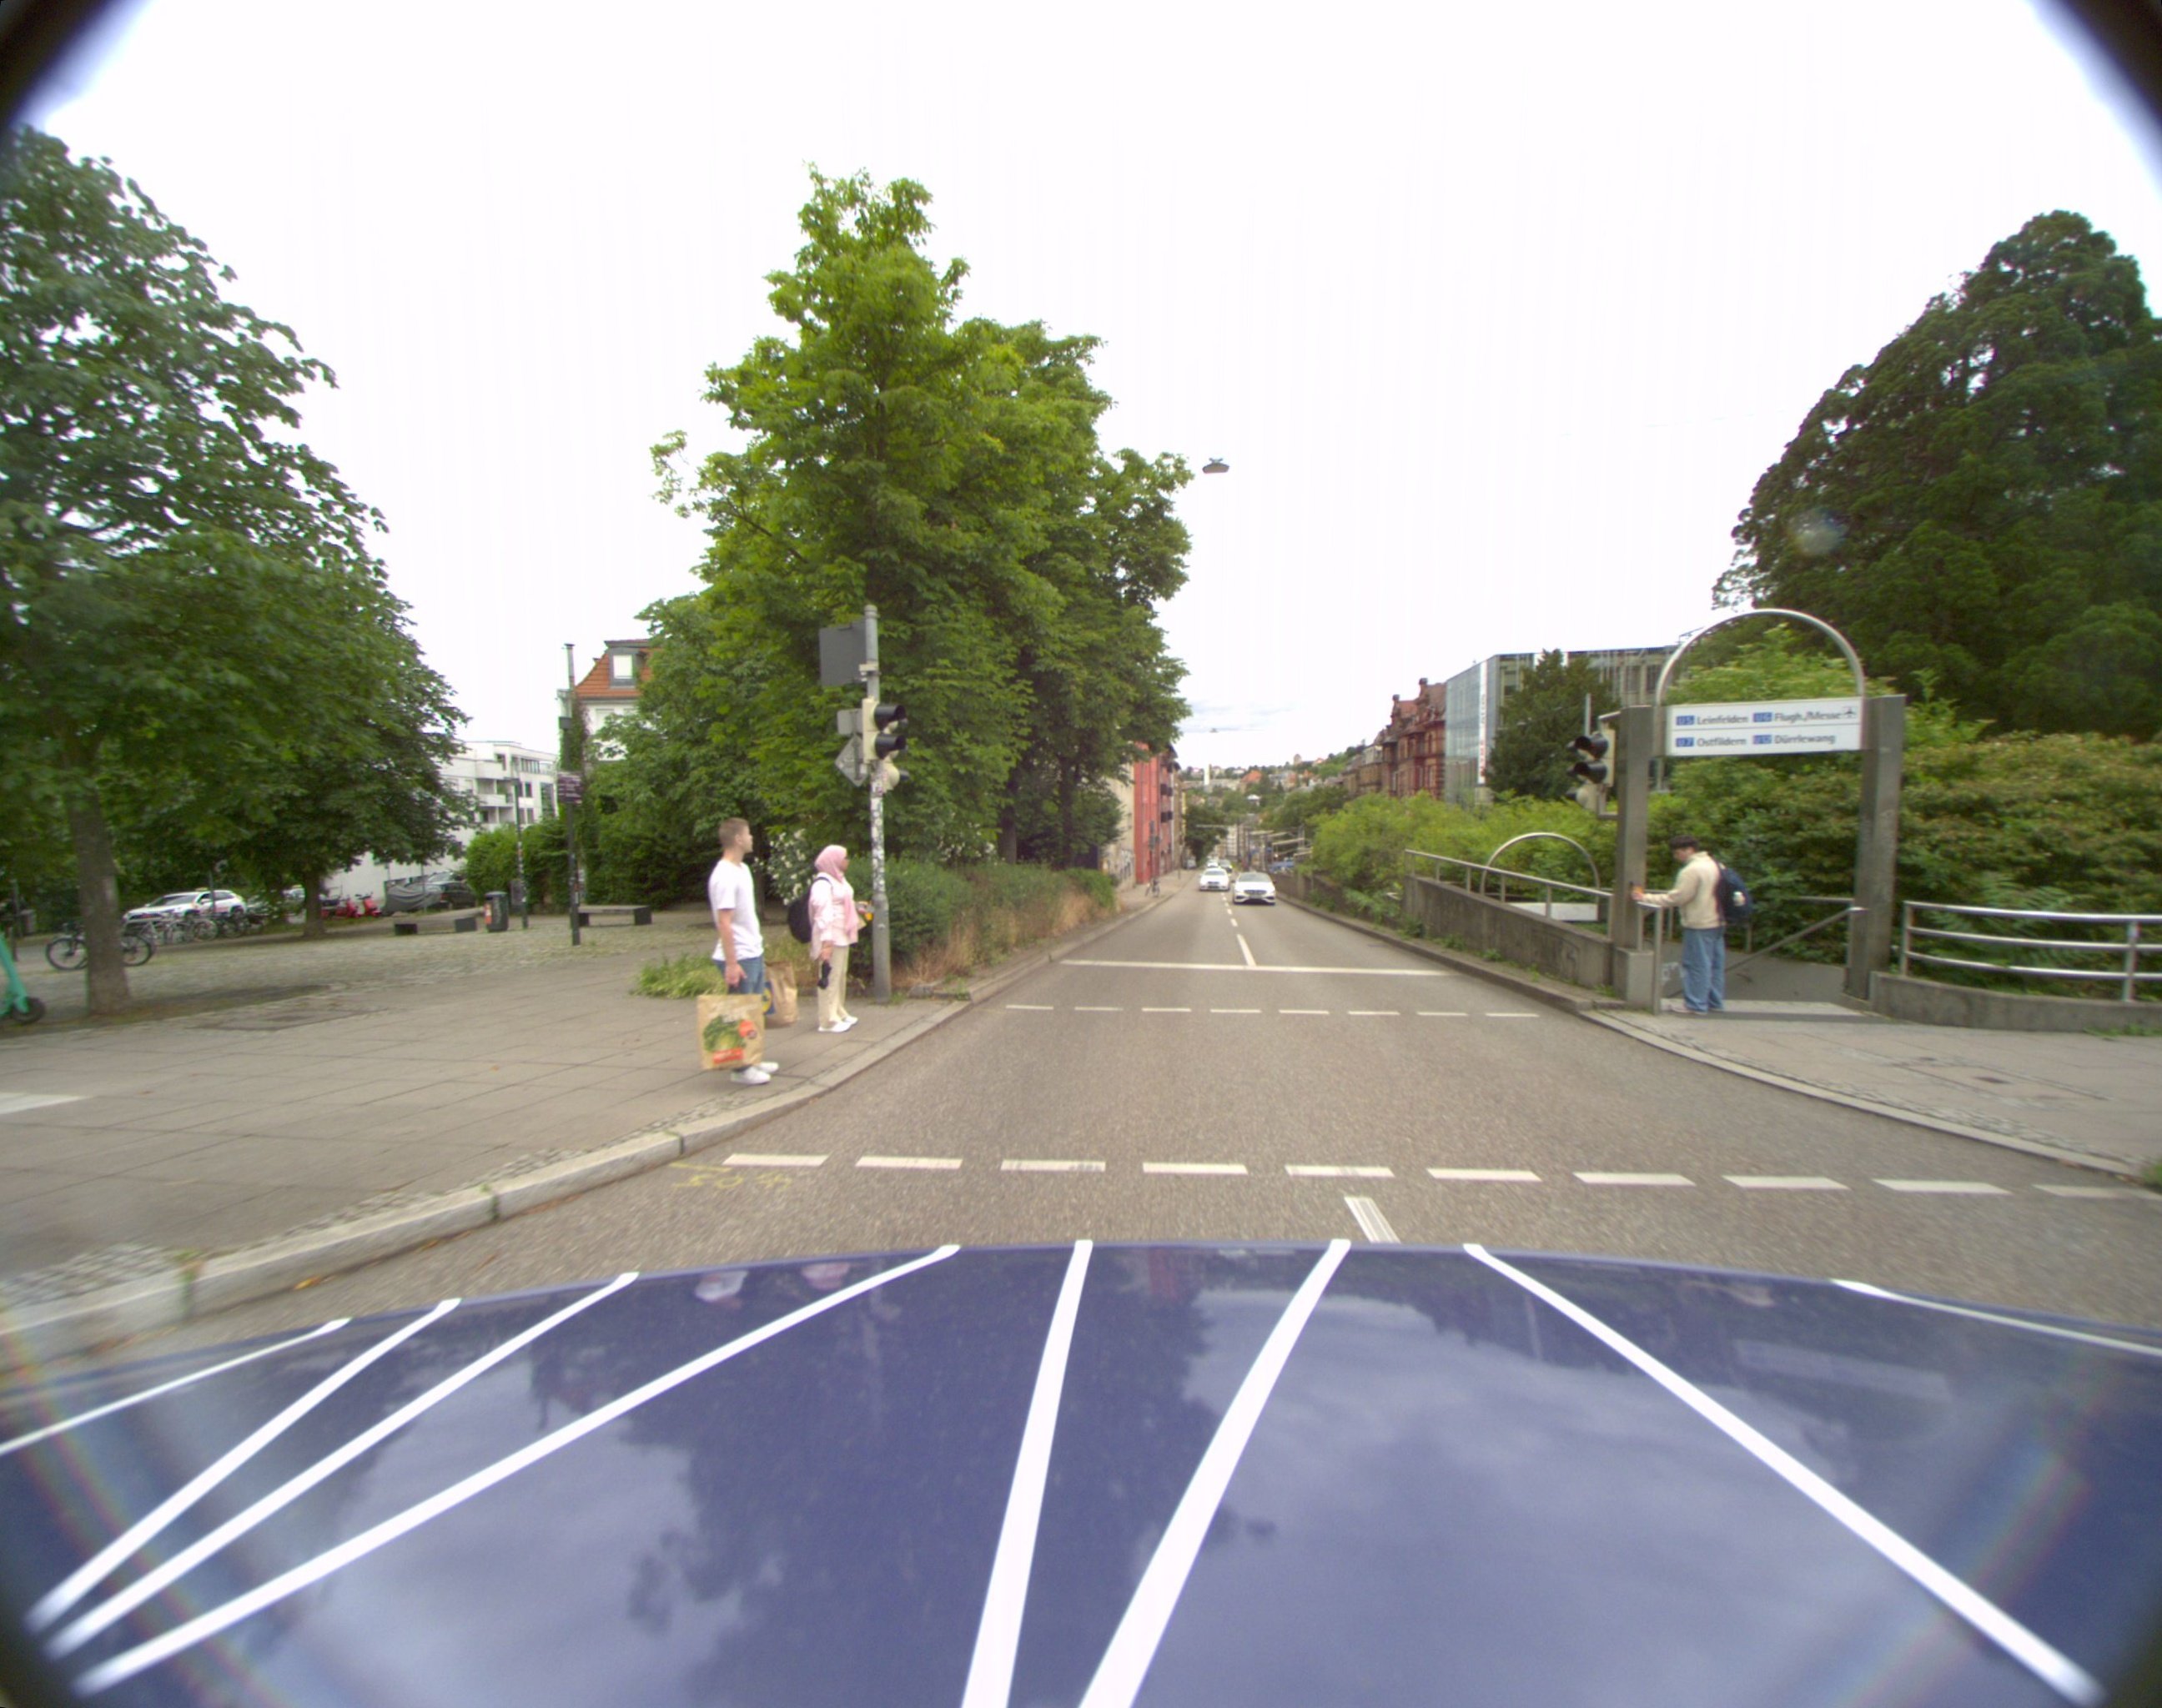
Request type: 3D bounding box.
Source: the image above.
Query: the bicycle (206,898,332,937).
[{"bbox_3d":[-29.345,2.271,27.554,0.921,1.139,2.959,-2,0,25],"label":"bicycle"}]

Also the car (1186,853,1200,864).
[{"bbox_3d":[17.396,0.643,117.899,1.860,1.701,4.311,1,0,11],"label":"car"}]

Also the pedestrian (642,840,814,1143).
[{"bbox_3d":[-2.159,0.780,4.711,0.615,1.702,0.728,2,1,14],"label":"pedestrian"}]

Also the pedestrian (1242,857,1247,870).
[{"bbox_3d":[21.555,1.255,100.130,0.679,1.670,0.686,0,1,7],"label":"pedestrian"}]

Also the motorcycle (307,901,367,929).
[{"bbox_3d":[-31.377,2.553,32.107,0.755,1.027,2.053,-2,0,-10],"label":"motorcycle"}]

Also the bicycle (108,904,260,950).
[{"bbox_3d":[-28.465,2.284,24.199,0.921,1.139,2.959,-2,0,25],"label":"bicycle"}]

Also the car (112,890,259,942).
[{"bbox_3d":[-39.726,2.689,33.903,2.001,1.892,4.707,-3,0,-18],"label":"car"}]

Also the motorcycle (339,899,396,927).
[{"bbox_3d":[-30.542,2.509,32.567,0.755,1.027,2.053,-2,0,-10],"label":"motorcycle"}]

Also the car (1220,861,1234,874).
[{"bbox_3d":[19.948,1.864,103.821,1.880,1.727,4.003,0,0,11],"label":"car"}]

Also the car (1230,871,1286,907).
[{"bbox_3d":[7.940,1.535,34.412,1.997,1.390,4.232,1,0,7],"label":"car"}]

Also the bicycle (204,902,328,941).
[{"bbox_3d":[-30.166,2.474,28.208,0.921,1.139,2.959,-2,0,25],"label":"bicycle"}]

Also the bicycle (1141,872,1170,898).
[{"bbox_3d":[3.564,1.470,36.523,0.641,1.137,2.062,1,0,-15],"label":"bicycle"}]

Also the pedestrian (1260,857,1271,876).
[{"bbox_3d":[16.980,1.120,69.884,0.818,1.767,0.803,0,0,1],"label":"pedestrian"}]

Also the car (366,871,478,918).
[{"bbox_3d":[-31.862,1.916,36.898,3.793,2.002,1.995,-2,0,-31],"label":"car"}]

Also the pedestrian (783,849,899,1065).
[{"bbox_3d":[-2.016,0.817,6.449,0.615,1.702,0.728,2,1,14],"label":"pedestrian"}]

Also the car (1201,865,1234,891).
[{"bbox_3d":[8.947,1.541,50.127,1.997,1.479,4.233,-3,0,9],"label":"car"}]

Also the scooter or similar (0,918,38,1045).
[{"bbox_3d":[-11.253,1.299,7.381,1.248,1.219,0.500,-3,1,-11],"label":"scooter or similar"}]

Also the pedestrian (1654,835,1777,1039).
[{"bbox_3d":[6.039,0.755,7.273,0.706,1.850,0.615,0,0,16],"label":"pedestrian"}]

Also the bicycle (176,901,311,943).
[{"bbox_3d":[-28.735,2.306,26.158,0.921,1.139,2.959,-2,0,25],"label":"bicycle"}]
